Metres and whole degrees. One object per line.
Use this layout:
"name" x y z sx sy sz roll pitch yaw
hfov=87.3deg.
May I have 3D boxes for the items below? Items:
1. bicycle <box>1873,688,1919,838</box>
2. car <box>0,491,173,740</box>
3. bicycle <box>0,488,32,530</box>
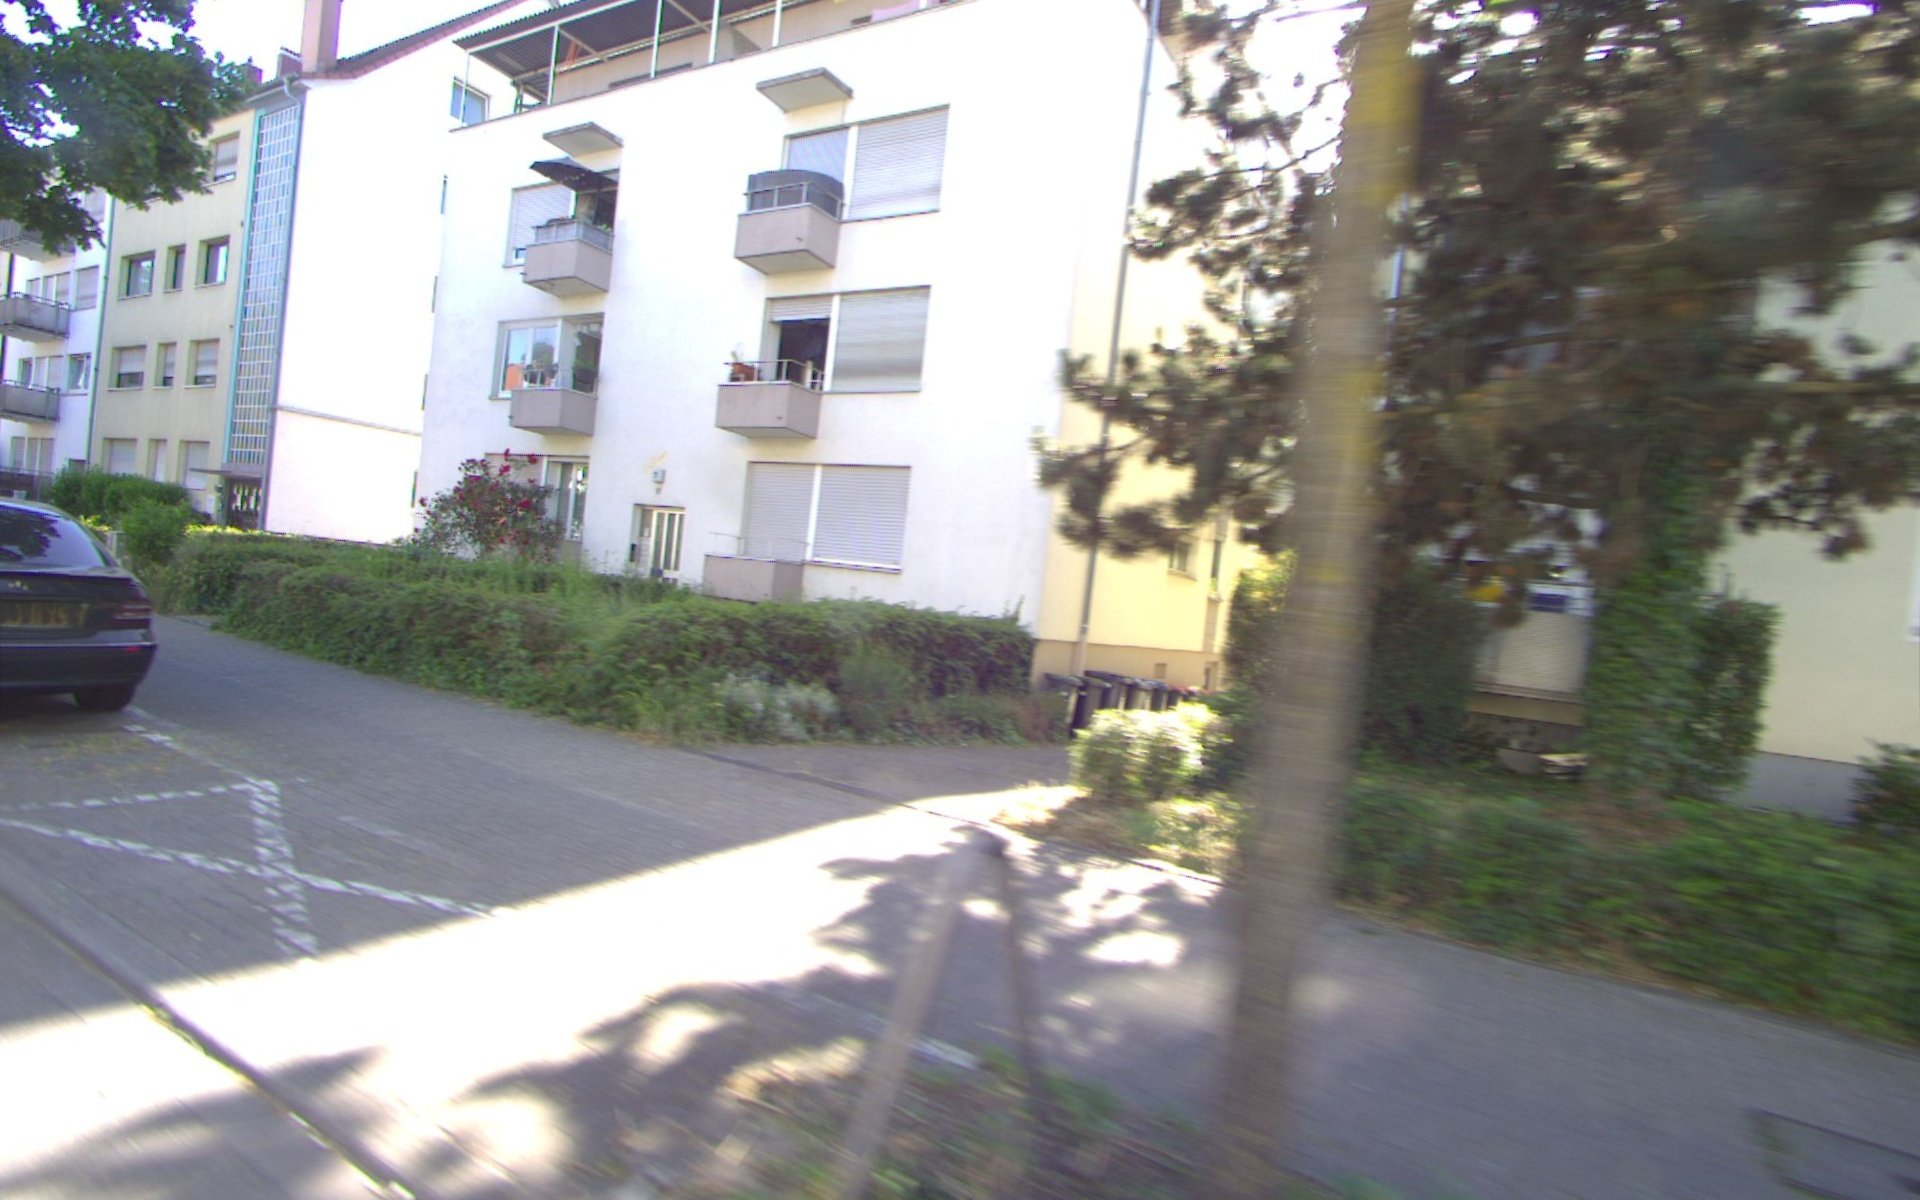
"bicycle" 9.707 1.604 8.772 2.385 1.320 0.598 7 2 32
"car" -7.369 -0.106 6.987 4.381 1.414 1.586 7 2 32
"bicycle" -30.679 -2.942 32.046 1.521 1.239 0.460 4 3 -28
